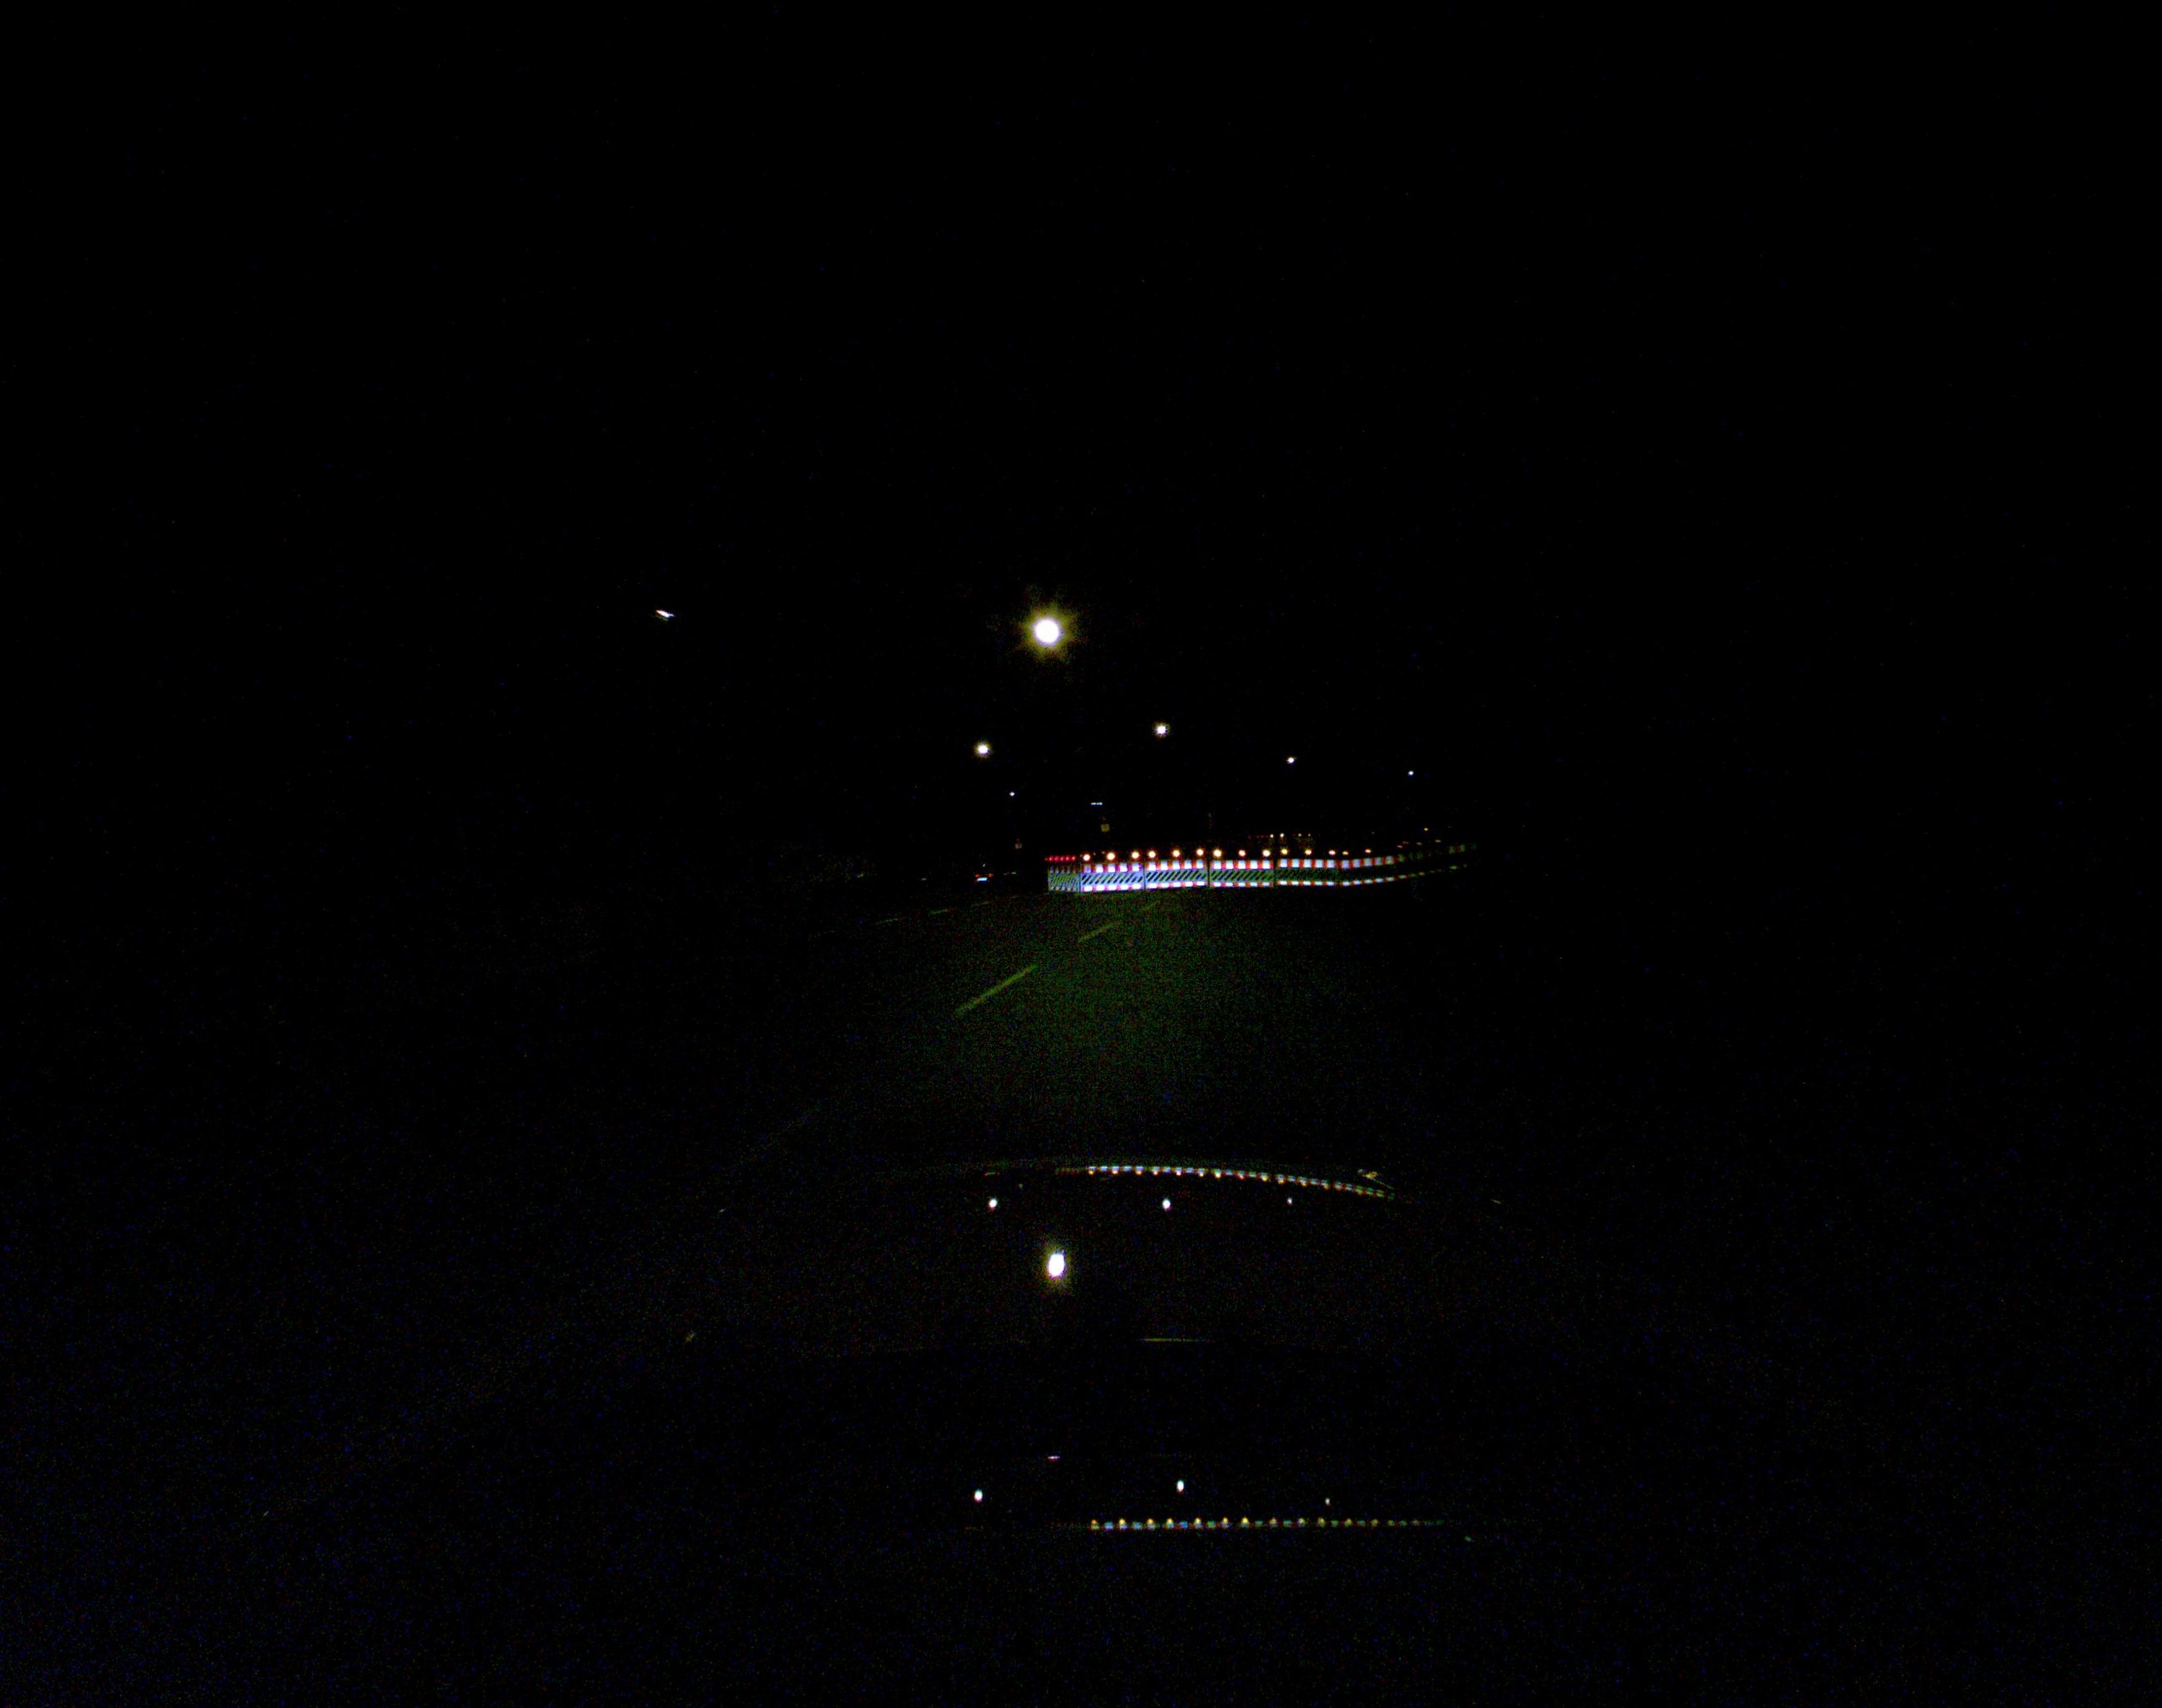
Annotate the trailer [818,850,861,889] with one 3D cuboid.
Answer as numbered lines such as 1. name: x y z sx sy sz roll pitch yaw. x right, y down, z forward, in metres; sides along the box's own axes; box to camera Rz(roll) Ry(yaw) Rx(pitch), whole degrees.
1. trailer: -16.560 1.054 55.995 1.991 2.527 3.561 -3 0 -5

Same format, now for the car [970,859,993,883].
1. car: -8.126 1.395 66.512 1.718 1.821 3.993 0 -1 -5

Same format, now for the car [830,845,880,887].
1. car: -17.409 0.931 63.114 2.517 2.927 7.183 -3 -1 -7

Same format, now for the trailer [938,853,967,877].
1. trailer: -15.726 1.276 99.768 1.982 2.813 4.715 -2 0 9

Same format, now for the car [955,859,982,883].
1. car: -8.144 1.266 59.233 1.718 1.661 3.993 0 -1 -5

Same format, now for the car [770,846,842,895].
1. car: -16.357 0.964 48.889 2.516 2.606 7.074 -3 -1 -7

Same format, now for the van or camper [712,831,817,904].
1. van or camper: -15.197 0.641 39.732 2.514 3.094 7.433 -3 -1 -4

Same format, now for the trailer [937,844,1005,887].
1. trailer: -6.046 0.671 44.260 1.570 2.160 5.167 -2 -1 -33

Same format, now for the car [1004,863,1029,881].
1. car: -6.948 1.954 87.605 1.710 1.821 4.011 -1 -1 10

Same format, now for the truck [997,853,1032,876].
1. truck: -10.405 1.561 128.141 1.977 3.404 9.022 0 0 18

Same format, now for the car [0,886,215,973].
1. car: -35.092 2.540 28.733 1.977 2.554 5.906 0 0 19

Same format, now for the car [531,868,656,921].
1. car: -28.989 2.303 48.833 1.977 2.842 6.712 0 0 19

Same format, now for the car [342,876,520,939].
1. car: -31.259 2.458 39.555 1.977 2.554 6.712 0 0 19

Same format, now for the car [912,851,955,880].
1. car: -16.856 1.275 93.338 2.505 3.171 7.154 -3 -1 8
